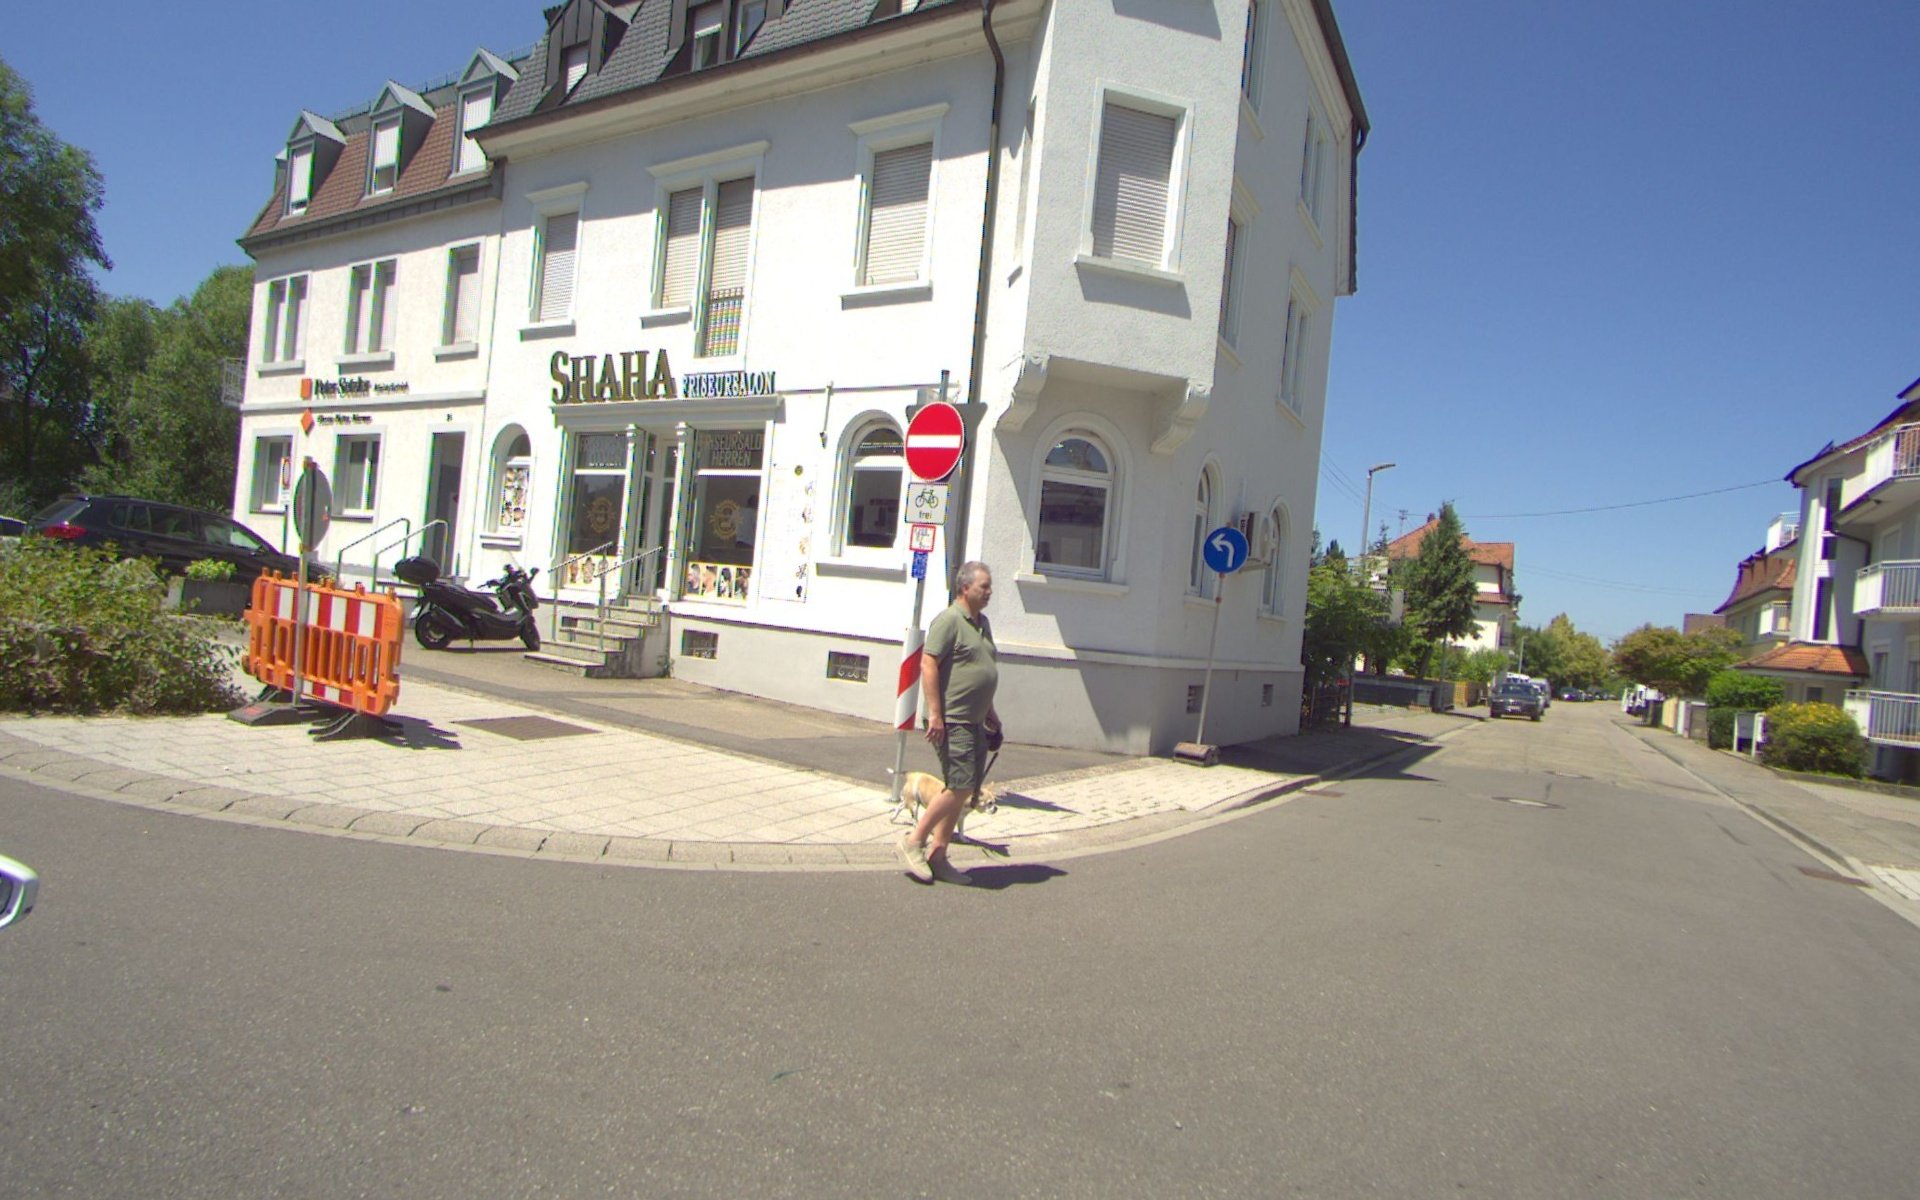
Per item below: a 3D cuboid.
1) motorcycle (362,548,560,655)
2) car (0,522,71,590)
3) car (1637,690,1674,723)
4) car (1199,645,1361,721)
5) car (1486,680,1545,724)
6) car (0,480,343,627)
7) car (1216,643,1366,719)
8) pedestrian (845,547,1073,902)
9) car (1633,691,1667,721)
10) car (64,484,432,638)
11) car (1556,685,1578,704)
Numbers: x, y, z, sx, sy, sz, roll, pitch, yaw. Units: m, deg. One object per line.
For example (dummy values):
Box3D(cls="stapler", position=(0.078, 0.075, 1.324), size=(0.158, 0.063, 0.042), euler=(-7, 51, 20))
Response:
Box3D(cls="motorcycle", position=(-7.167, 0.063, 14.610), size=(0.842, 1.290, 2.380), euler=(6, -2, 32))
Box3D(cls="car", position=(-21.256, -1.096, 20.925), size=(1.827, 1.365, 4.204), euler=(7, -3, -4))
Box3D(cls="car", position=(50.213, 7.675, 72.667), size=(1.968, 2.038, 3.990), euler=(6, -1, 34))
Box3D(cls="car", position=(9.276, 2.380, 29.258), size=(3.938, 1.660, 1.994), euler=(6, -1, 36))
Box3D(cls="car", position=(25.418, 4.641, 45.988), size=(1.968, 1.637, 3.991), euler=(6, -1, 33))
Box3D(cls="car", position=(-12.616, -0.653, 16.177), size=(1.825, 1.735, 4.083), euler=(5, -3, 31))
Box3D(cls="car", position=(10.407, 2.525, 31.746), size=(3.938, 1.860, 1.994), euler=(6, -1, 36))
Box3D(cls="pedestrian", position=(-0.006, 0.669, 5.792), size=(0.831, 1.819, 0.745), euler=(8, 1, 40))
Box3D(cls="car", position=(54.088, 8.304, 78.931), size=(1.968, 2.038, 3.990), euler=(6, -1, 34))
Box3D(cls="car", position=(-10.642, -0.495, 15.368), size=(1.825, 1.735, 4.083), euler=(5, -3, 31))
Box3D(cls="car", position=(73.566, 11.473, 121.892), size=(1.968, 2.038, 3.990), euler=(6, -1, 34))
